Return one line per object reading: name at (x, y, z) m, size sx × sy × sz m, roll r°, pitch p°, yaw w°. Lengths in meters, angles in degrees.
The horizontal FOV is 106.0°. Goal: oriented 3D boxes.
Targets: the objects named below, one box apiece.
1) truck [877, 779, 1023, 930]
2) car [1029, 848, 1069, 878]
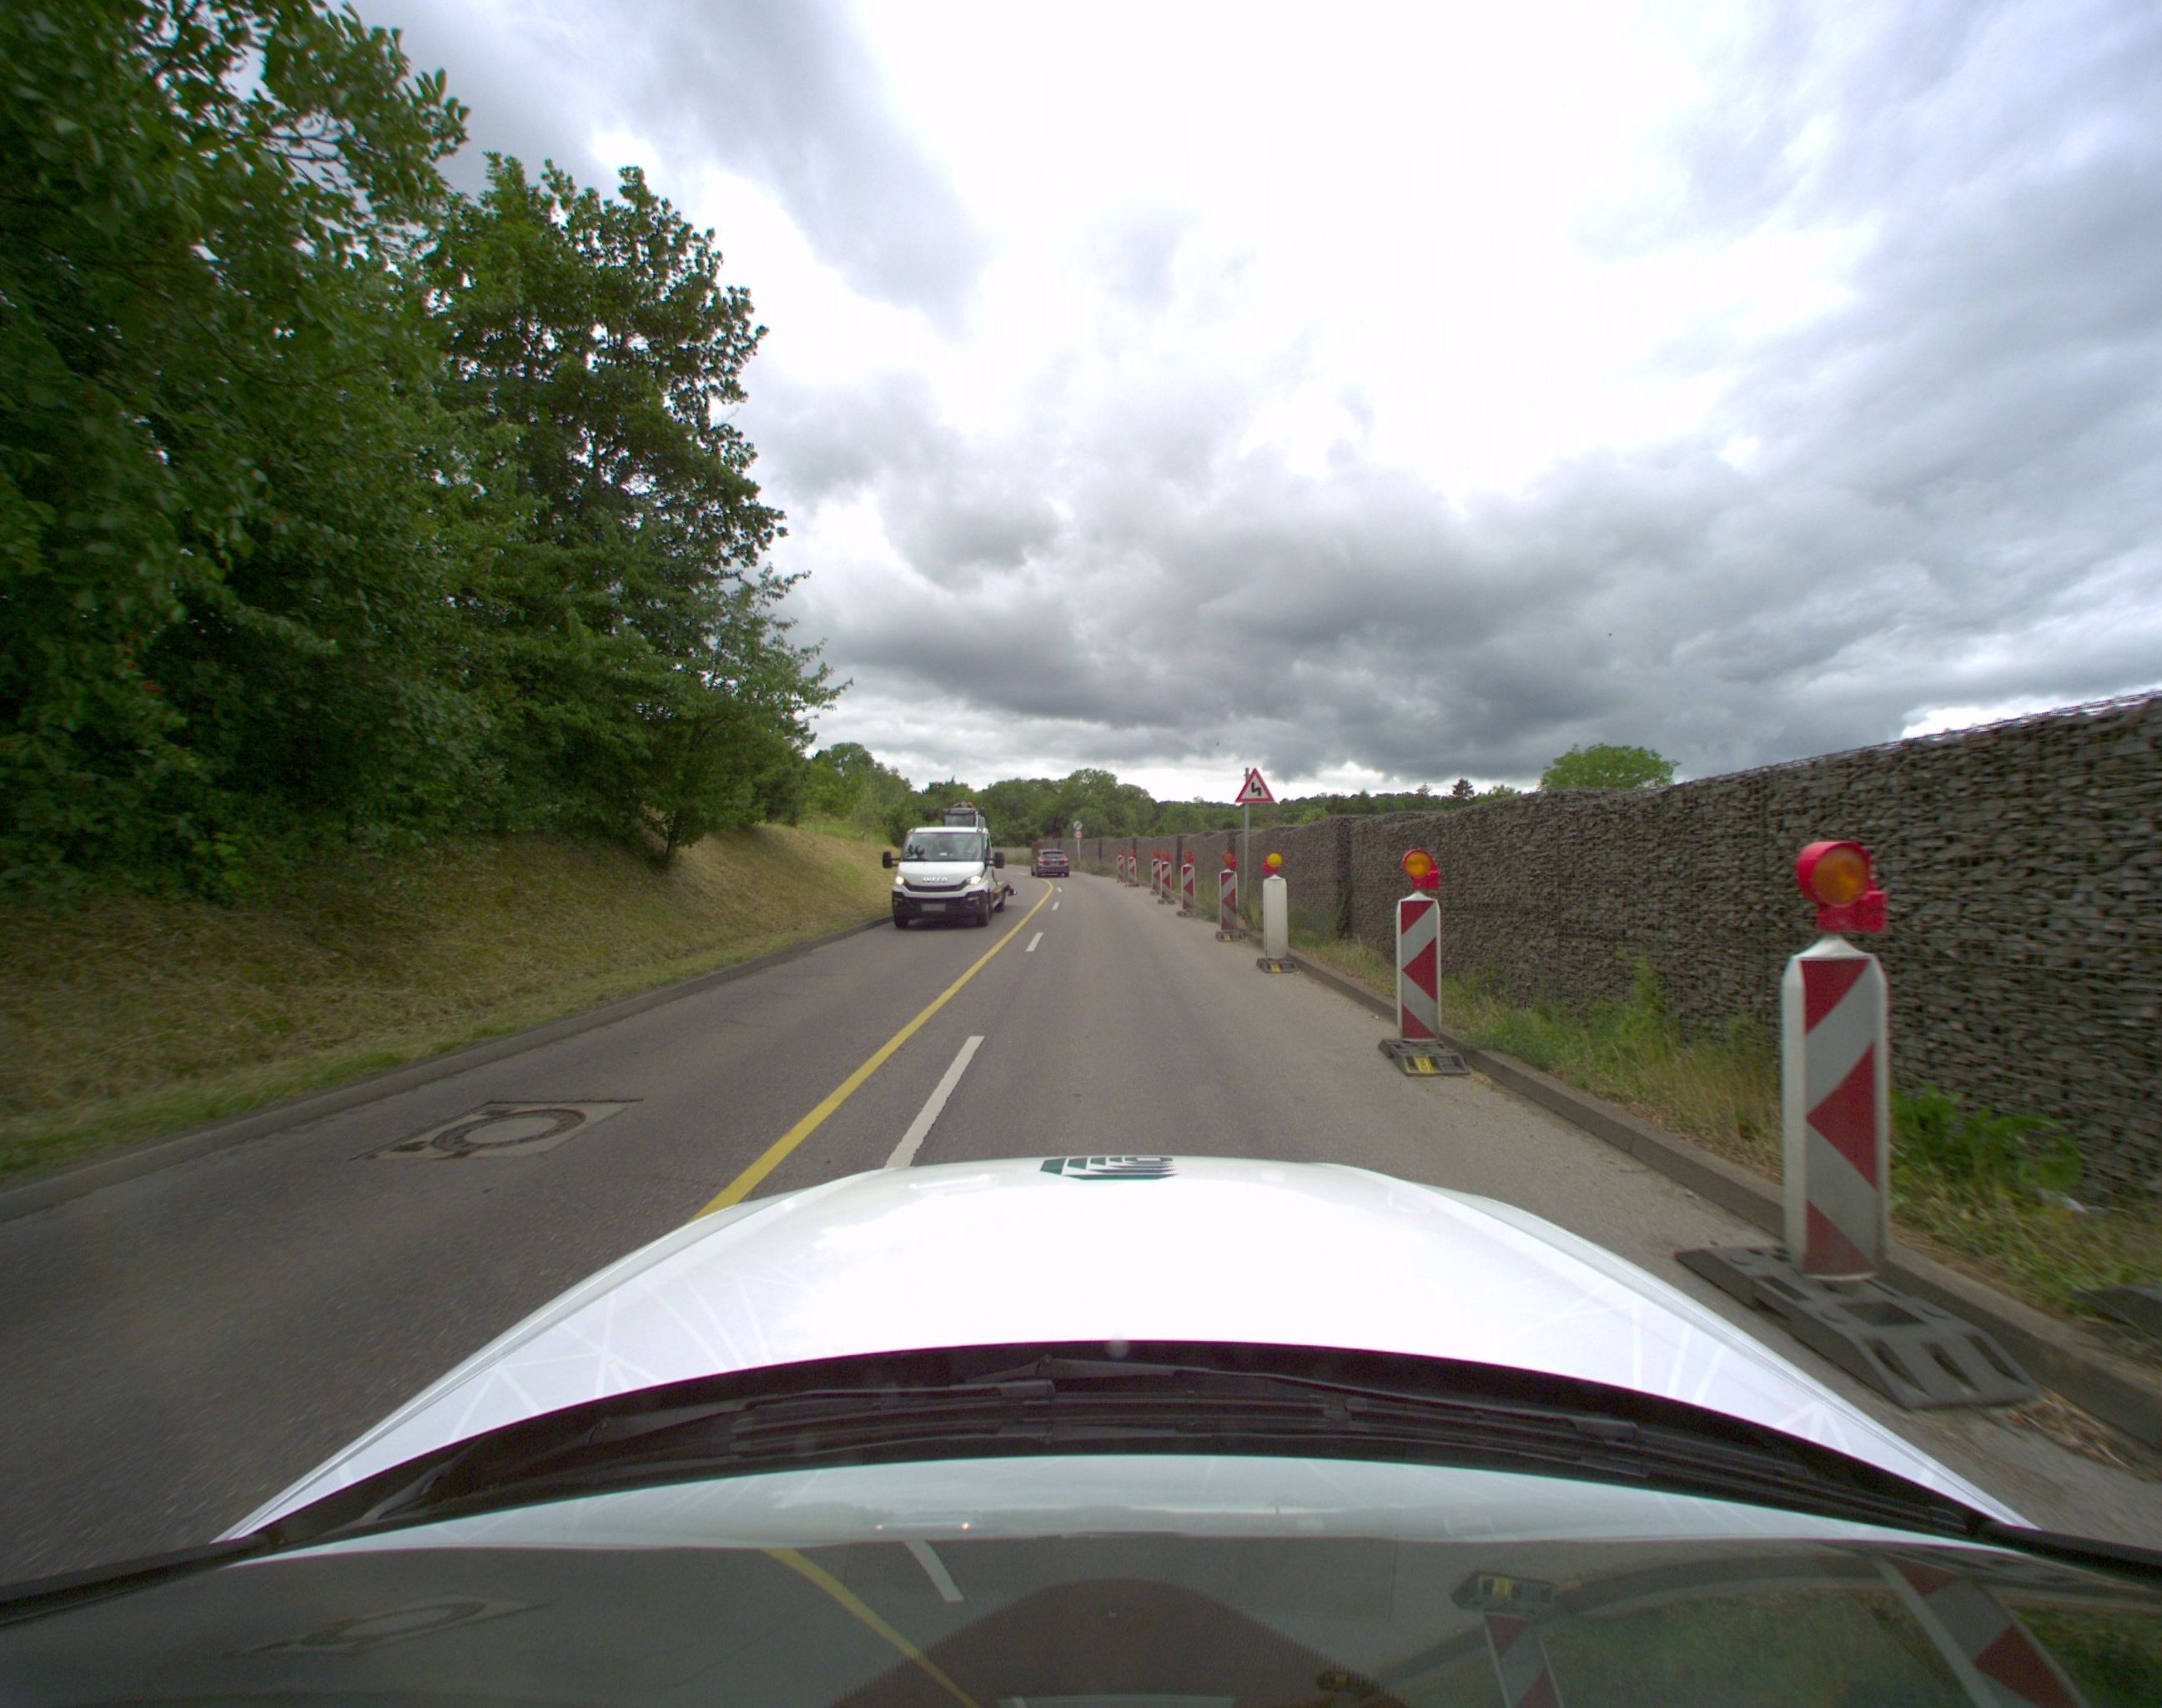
truck at (-2.928, -0.012, 20.403) m, size 2.207 × 3.014 × 7.741 m, roll -1°, pitch 0°, yaw 1°
car at (-1.827, 0.461, 45.358) m, size 1.838 × 1.483 × 3.990 m, roll -2°, pitch 1°, yaw -8°
